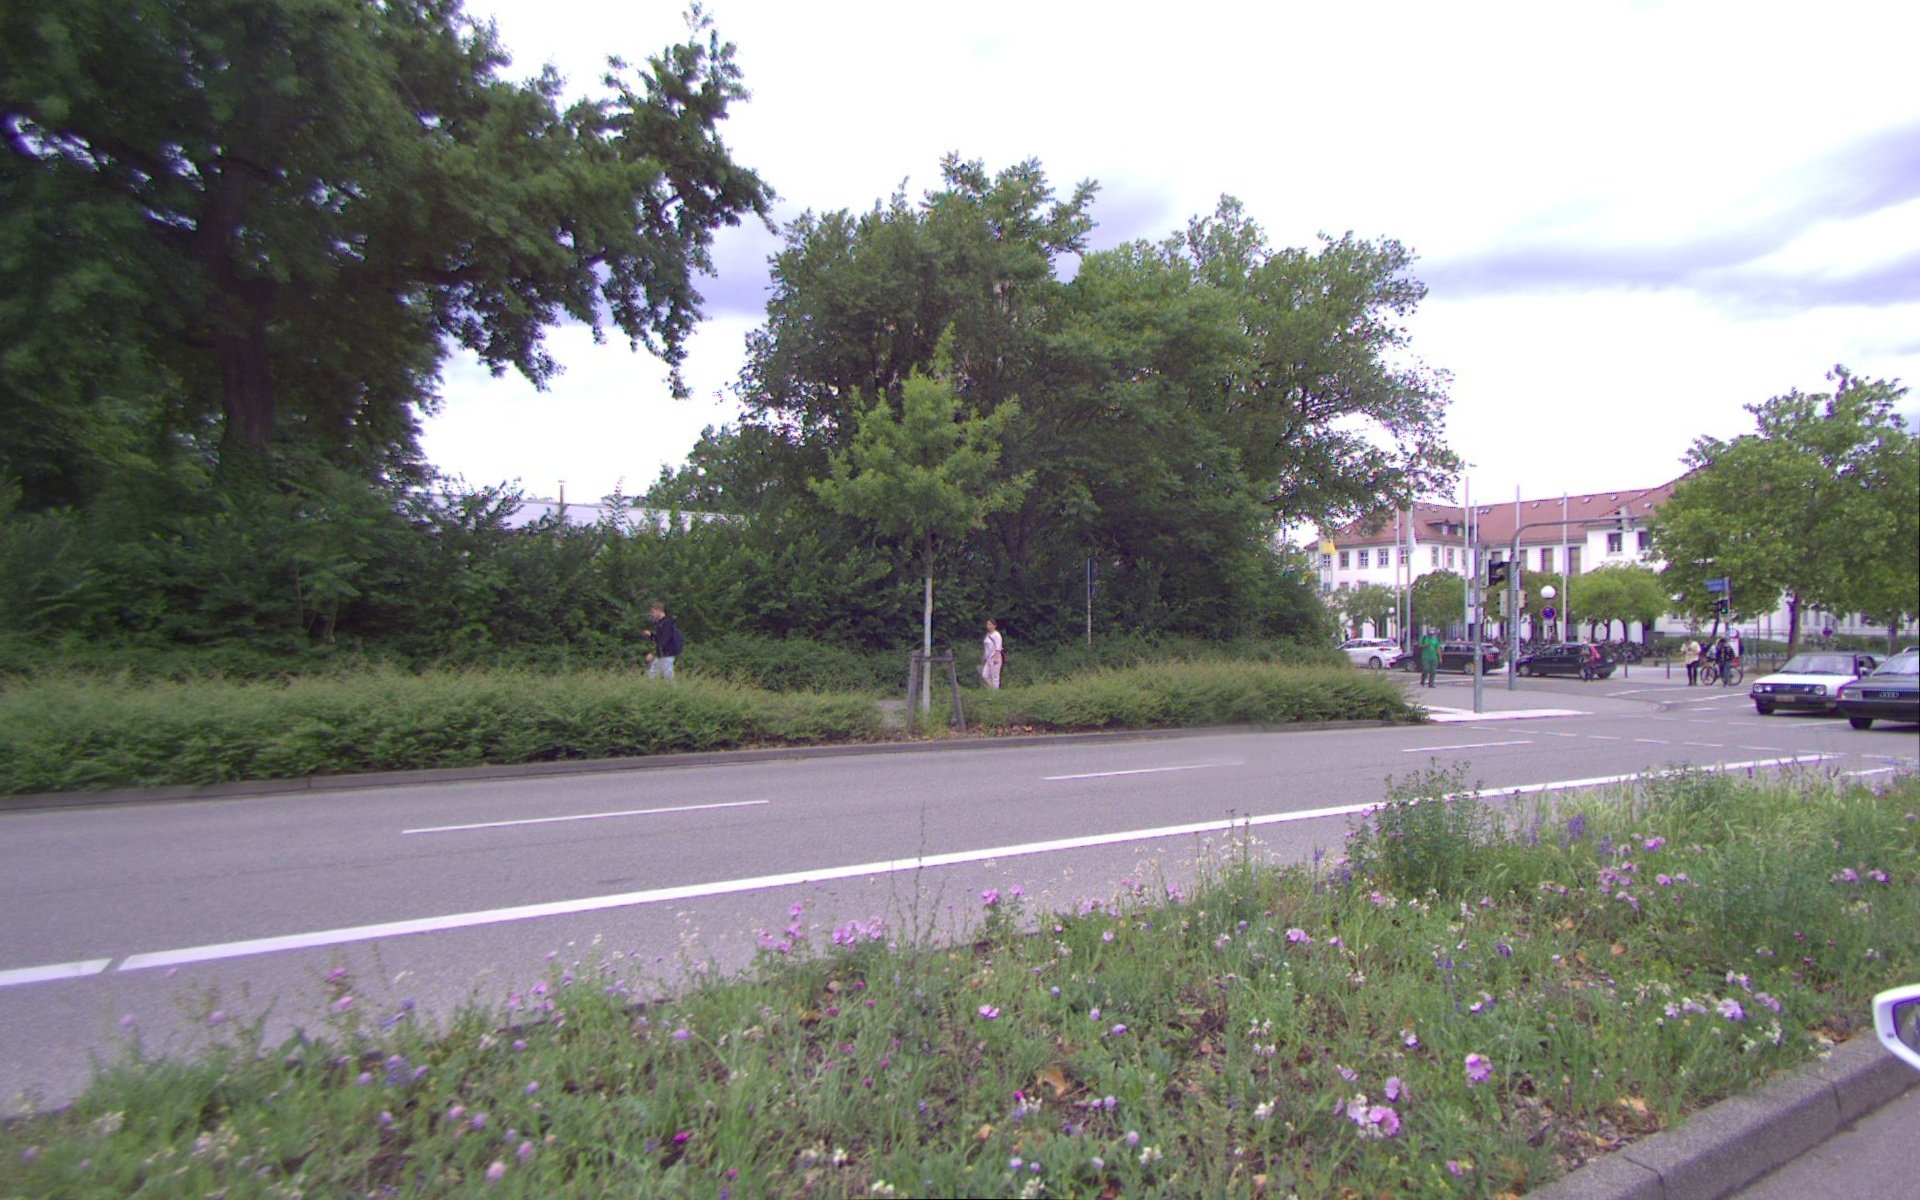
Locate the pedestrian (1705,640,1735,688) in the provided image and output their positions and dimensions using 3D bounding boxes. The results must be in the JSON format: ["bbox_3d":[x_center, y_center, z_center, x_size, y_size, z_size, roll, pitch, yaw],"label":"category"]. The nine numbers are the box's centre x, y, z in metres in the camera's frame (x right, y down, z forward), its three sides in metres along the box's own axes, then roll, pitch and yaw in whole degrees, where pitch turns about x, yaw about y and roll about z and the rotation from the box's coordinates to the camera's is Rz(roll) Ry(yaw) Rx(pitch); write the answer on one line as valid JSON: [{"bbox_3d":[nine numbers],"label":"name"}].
[{"bbox_3d":[26.201,2.207,34.627,0.780,1.578,0.696,0,-5,40],"label":"pedestrian"}]

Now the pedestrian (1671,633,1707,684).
[{"bbox_3d":[26.319,2.113,36.258,0.835,1.761,0.823,6,-6,-35],"label":"pedestrian"}]

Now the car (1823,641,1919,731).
[{"bbox_3d":[17.783,1.522,18.126,4.732,1.479,1.757,2,-4,-28],"label":"car"}]

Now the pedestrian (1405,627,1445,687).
[{"bbox_3d":[14.169,1.724,30.641,0.924,1.782,0.876,2,-1,17],"label":"pedestrian"}]

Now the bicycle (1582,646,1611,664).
[{"bbox_3d":[37.784,3.284,59.616,1.385,1.066,0.586,-3,-3,41],"label":"bicycle"}]

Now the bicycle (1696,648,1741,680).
[{"bbox_3d":[27.822,2.347,36.888,0.654,1.076,1.620,2,-1,11],"label":"bicycle"}]

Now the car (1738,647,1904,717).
[{"bbox_3d":[18.966,1.746,22.105,3.763,1.399,1.601,1,-3,-30],"label":"car"}]

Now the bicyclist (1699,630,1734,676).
[{"bbox_3d":[27.850,1.932,37.001,0.654,1.657,0.962,2,-1,11],"label":"bicyclist"}]

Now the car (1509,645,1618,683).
[{"bbox_3d":[25.473,2.658,42.475,1.547,1.240,3.631,-7,4,-35],"label":"car"}]

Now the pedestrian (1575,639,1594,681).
[{"bbox_3d":[23.951,2.320,38.524,0.563,1.545,0.846,0,-6,36],"label":"pedestrian"}]

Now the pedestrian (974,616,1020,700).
[{"bbox_3d":[0.742,1.161,20.210,0.663,1.657,0.697,1,-3,-30],"label":"pedestrian"}]

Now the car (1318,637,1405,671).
[{"bbox_3d":[20.234,2.684,50.773,1.667,1.560,3.857,-1,0,-32],"label":"car"}]

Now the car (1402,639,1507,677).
[{"bbox_3d":[22.527,2.609,45.839,4.007,1.472,1.613,-2,3,43],"label":"car"}]

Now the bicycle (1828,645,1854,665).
[{"bbox_3d":[46.829,2.913,53.386,2.025,1.074,0.603,1,-3,-37],"label":"bicycle"}]

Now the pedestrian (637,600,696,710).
[{"bbox_3d":[-4.806,0.894,16.425,0.808,1.752,0.617,1,-3,-30],"label":"pedestrian"}]
